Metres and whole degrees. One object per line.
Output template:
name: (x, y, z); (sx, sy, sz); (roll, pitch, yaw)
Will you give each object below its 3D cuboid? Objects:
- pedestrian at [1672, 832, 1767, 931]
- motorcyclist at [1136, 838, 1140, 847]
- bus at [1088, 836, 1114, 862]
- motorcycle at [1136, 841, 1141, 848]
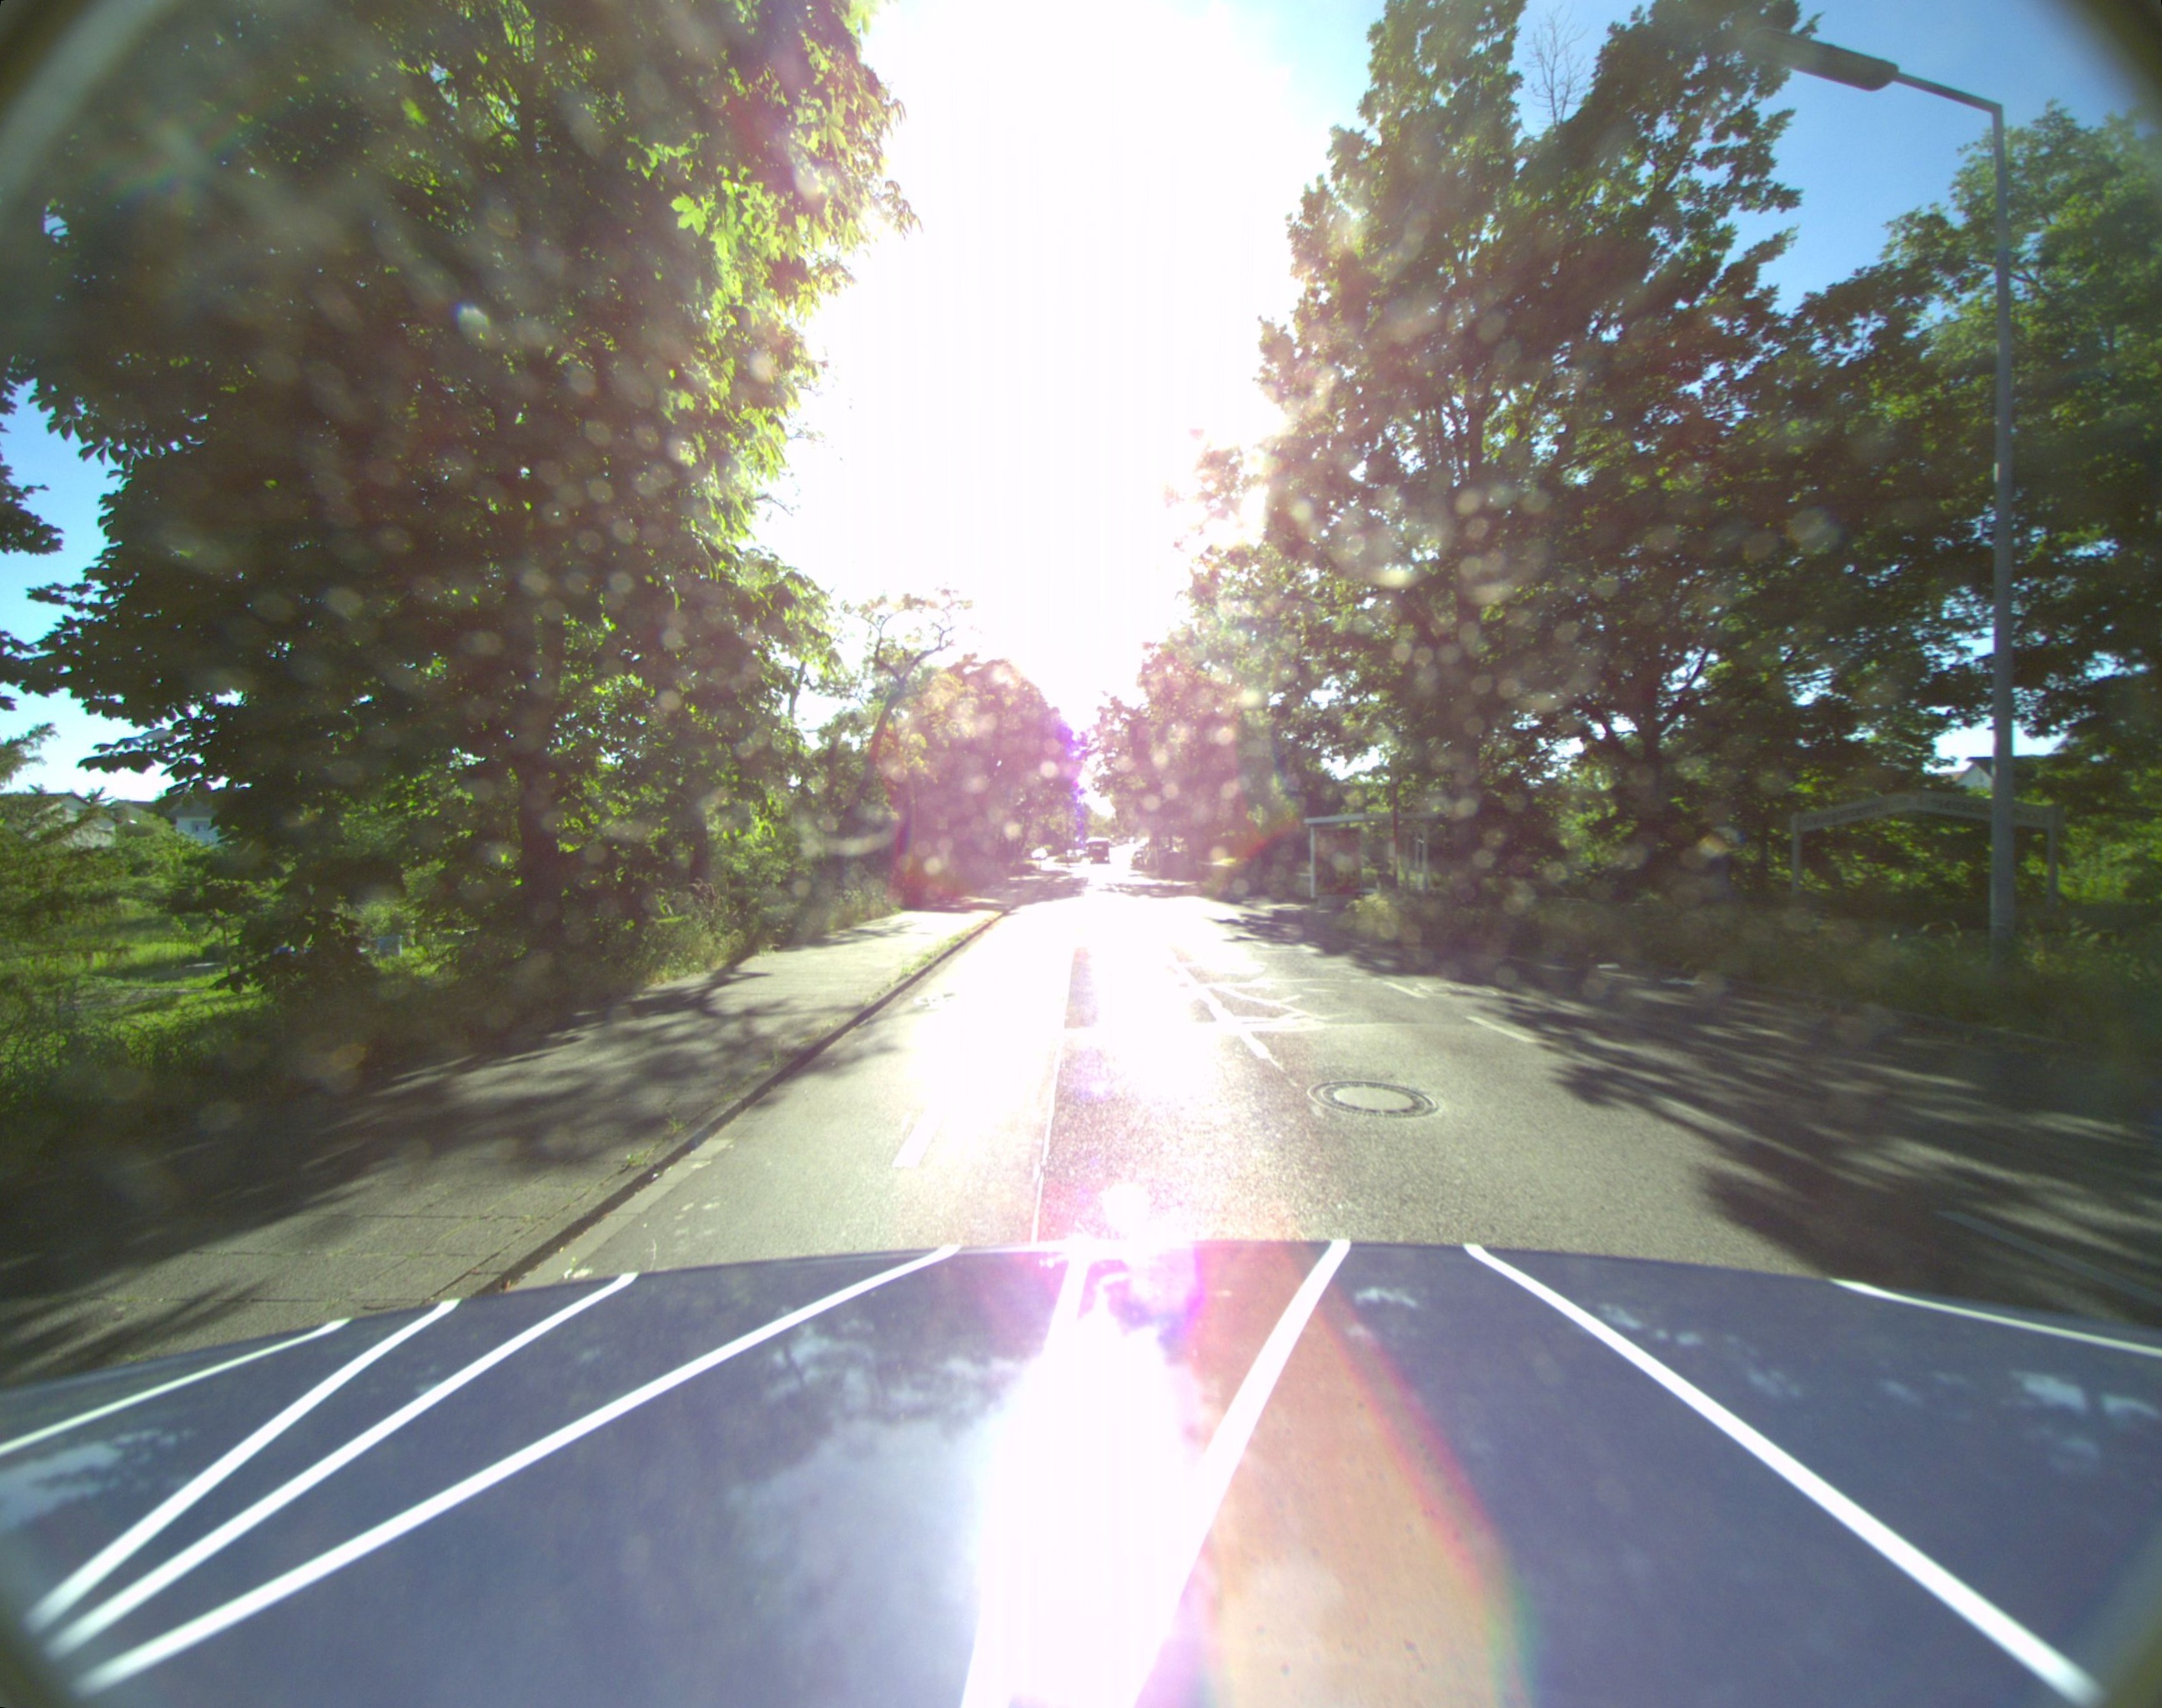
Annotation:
pedestrian: (11.341, 0.476, 13.527); (0.915, 1.678, 0.891); (-2, 0, 2)
motorcyclist: (13.597, -2.793, 180.888); (0.640, 2.002, 0.739); (-3, 2, -2)
bus: (2.439, -0.637, 96.698); (2.790, 2.965, 12.893); (-2, 0, -1)
motorcycle: (13.637, -2.288, 180.868); (0.815, 1.624, 2.411); (-3, 1, -2)
